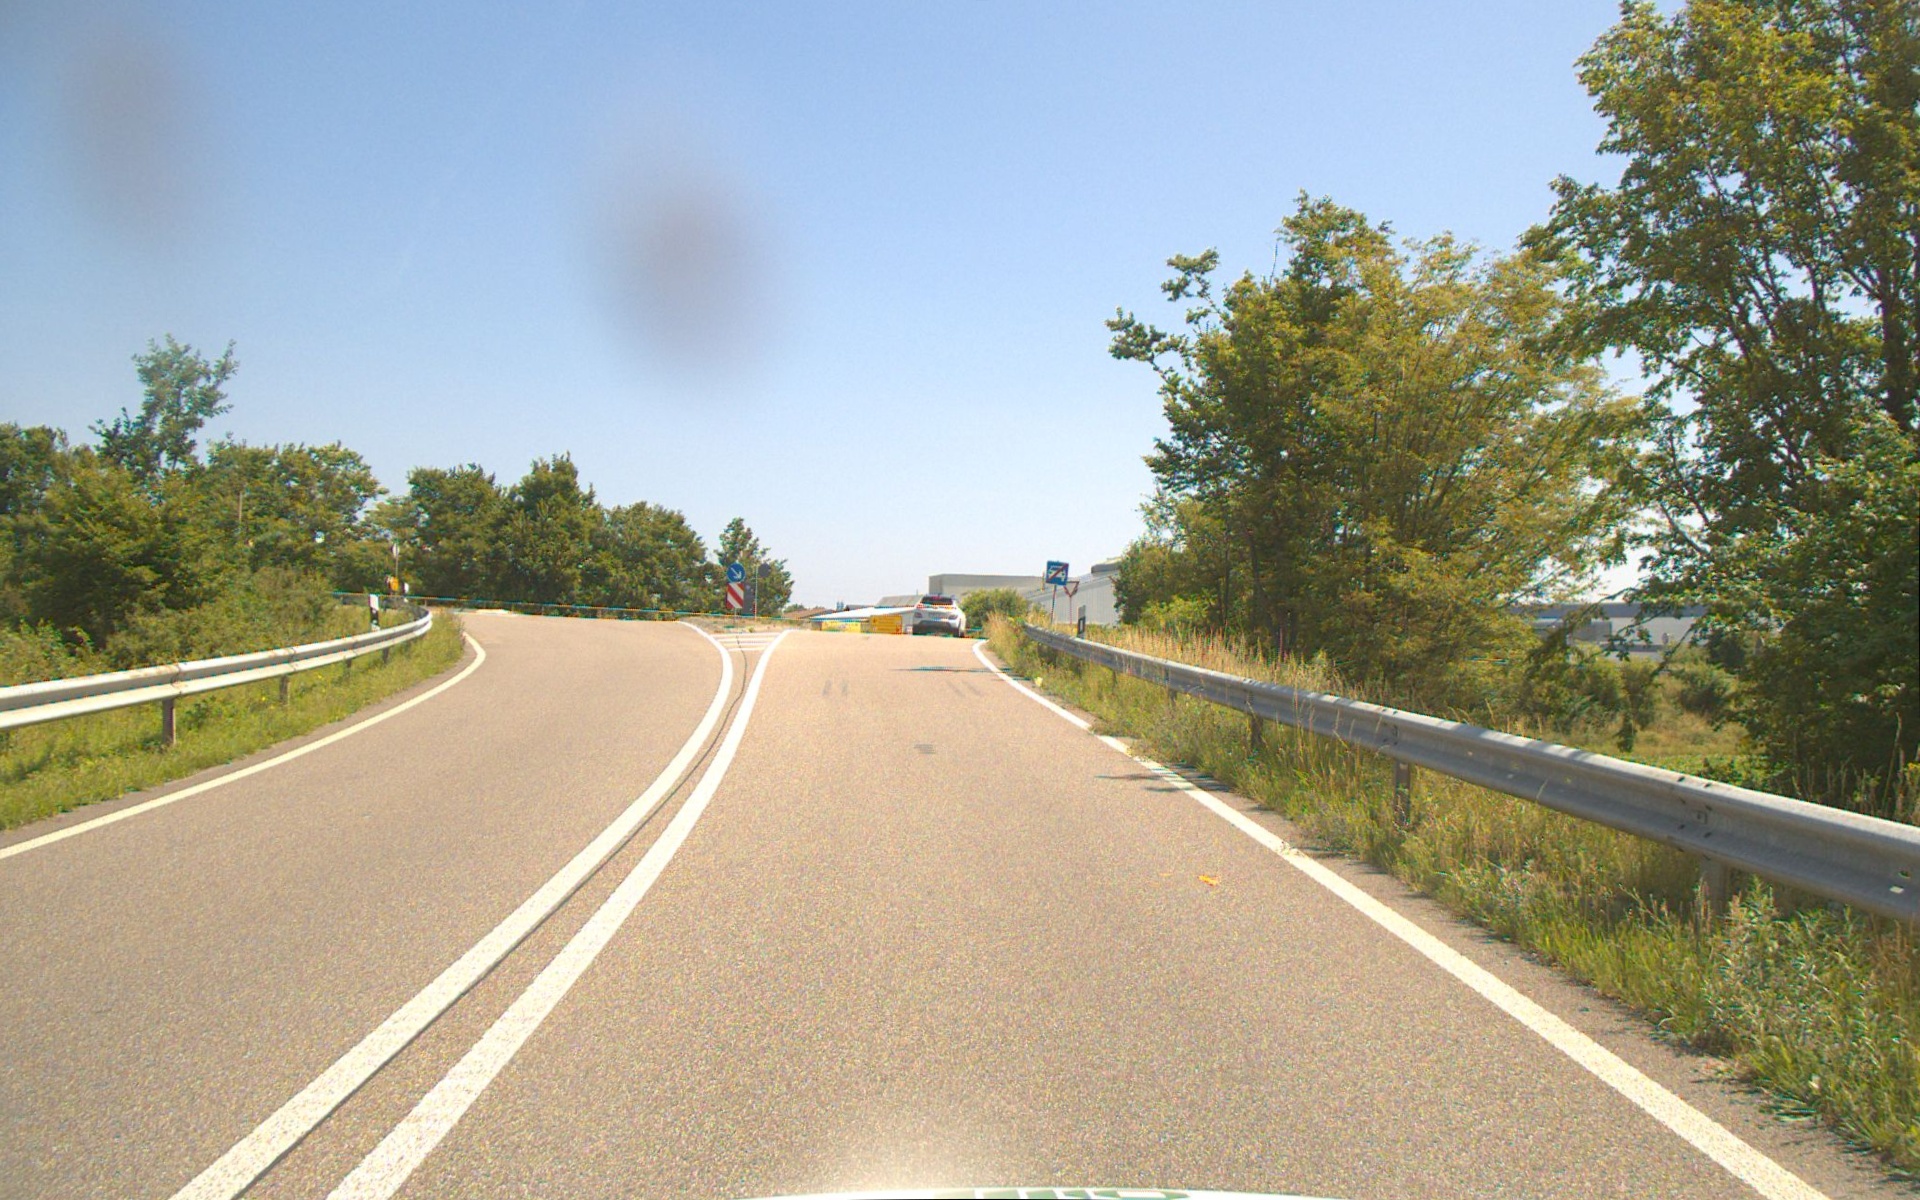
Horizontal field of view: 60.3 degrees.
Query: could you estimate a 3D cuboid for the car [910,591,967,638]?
[{"bbox_3d":[-0.787,0.587,63.220,1.770,1.721,4.002,0,-2,5],"label":"car"}]
